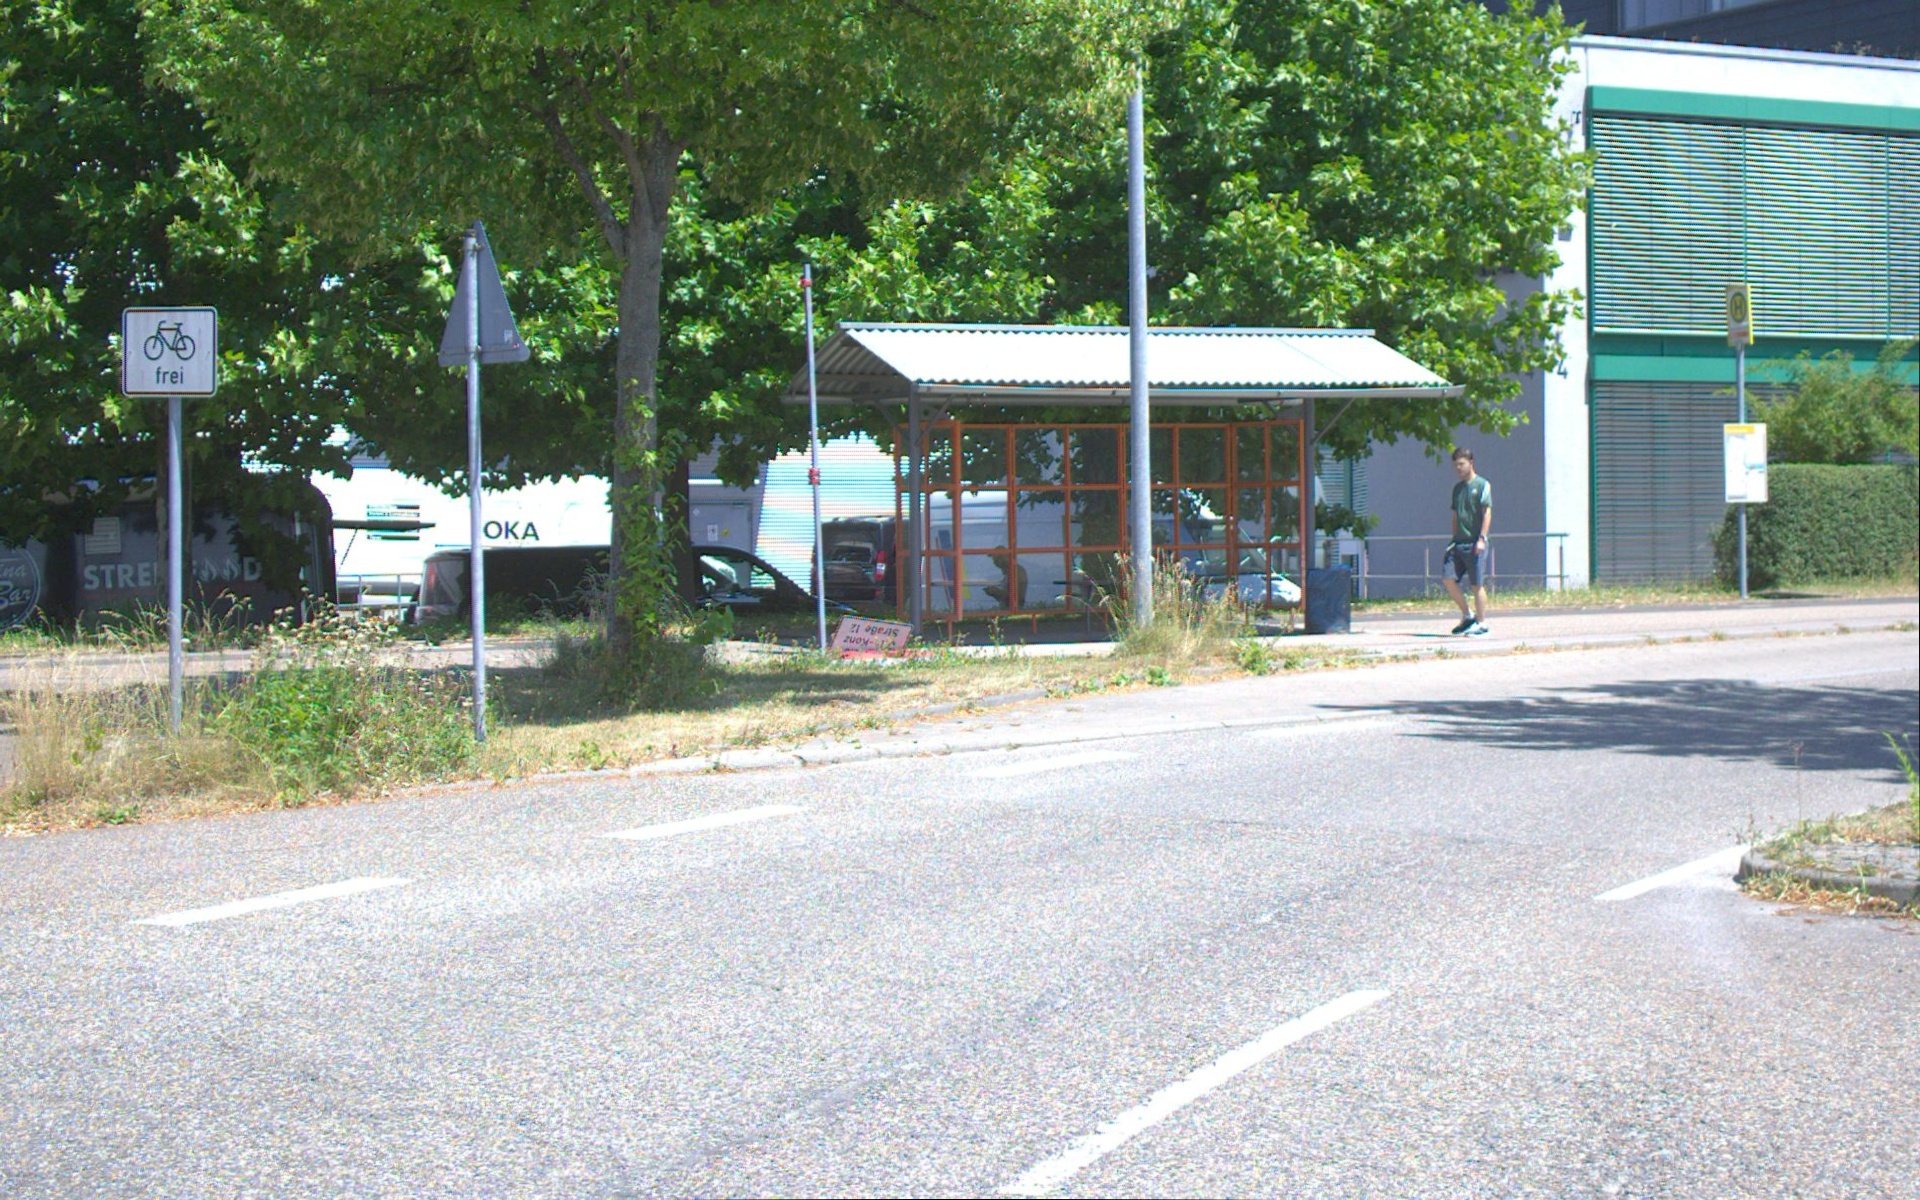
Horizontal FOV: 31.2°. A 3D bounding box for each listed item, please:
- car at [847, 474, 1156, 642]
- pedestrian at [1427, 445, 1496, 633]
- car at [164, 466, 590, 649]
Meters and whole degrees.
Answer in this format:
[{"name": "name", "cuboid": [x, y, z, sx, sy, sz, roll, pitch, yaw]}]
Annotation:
[{"name": "car", "cuboid": [0.473, -0.484, 43.557, 1.544, 2.007, 4.264, 1, -1, -39]}, {"name": "pedestrian", "cuboid": [4.489, -0.539, 30.779, 0.529, 1.664, 0.579, 0, -1, -1]}, {"name": "car", "cuboid": [-6.115, -0.460, 36.079, 3.986, 1.722, 1.841, -3, 1, -26]}]
